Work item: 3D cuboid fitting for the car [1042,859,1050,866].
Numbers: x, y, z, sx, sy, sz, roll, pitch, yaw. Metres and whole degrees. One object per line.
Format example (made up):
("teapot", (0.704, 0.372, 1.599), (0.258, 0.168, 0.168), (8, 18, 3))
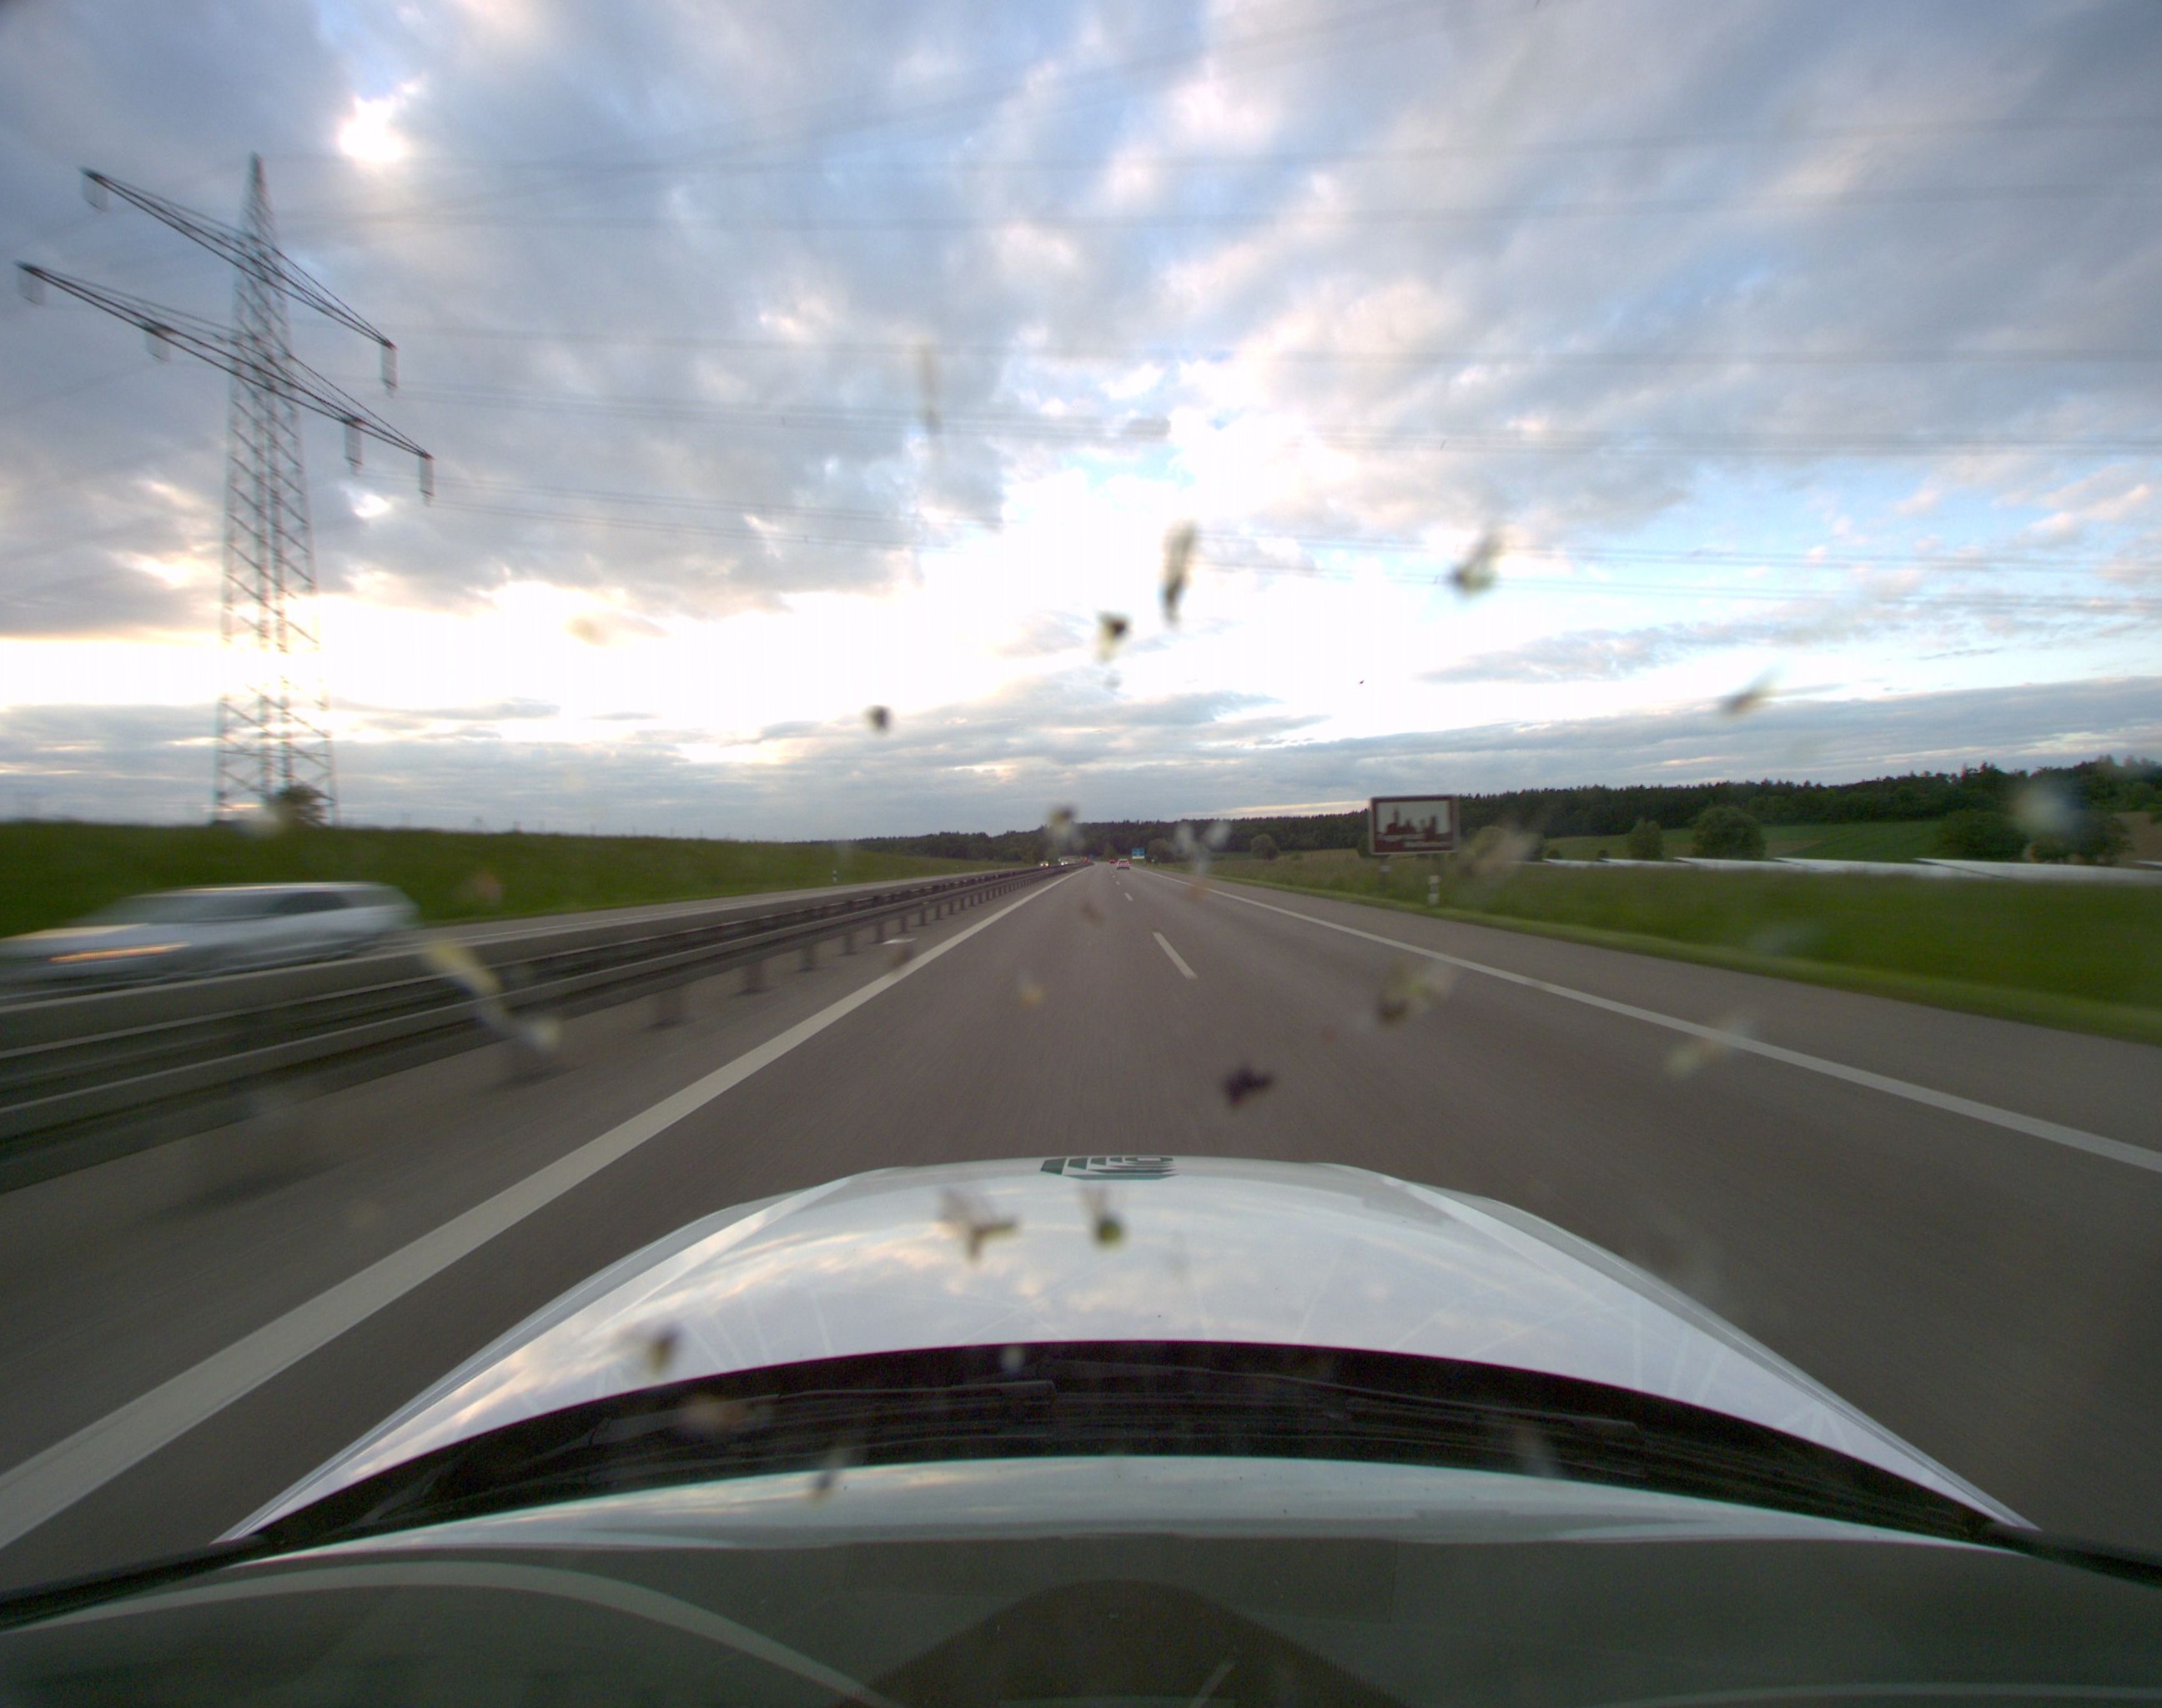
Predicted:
("car", (-8.377, 2.031, 195.083), (1.522, 1.433, 4.435), (0, 0, 1))

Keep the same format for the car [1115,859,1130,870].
("car", (5.973, 1.474, 116.835), (1.945, 1.531, 4.079), (0, 0, 0))

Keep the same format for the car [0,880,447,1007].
("car", (-13.389, 1.249, 13.303), (1.758, 1.482, 5.336), (0, 0, 2))
